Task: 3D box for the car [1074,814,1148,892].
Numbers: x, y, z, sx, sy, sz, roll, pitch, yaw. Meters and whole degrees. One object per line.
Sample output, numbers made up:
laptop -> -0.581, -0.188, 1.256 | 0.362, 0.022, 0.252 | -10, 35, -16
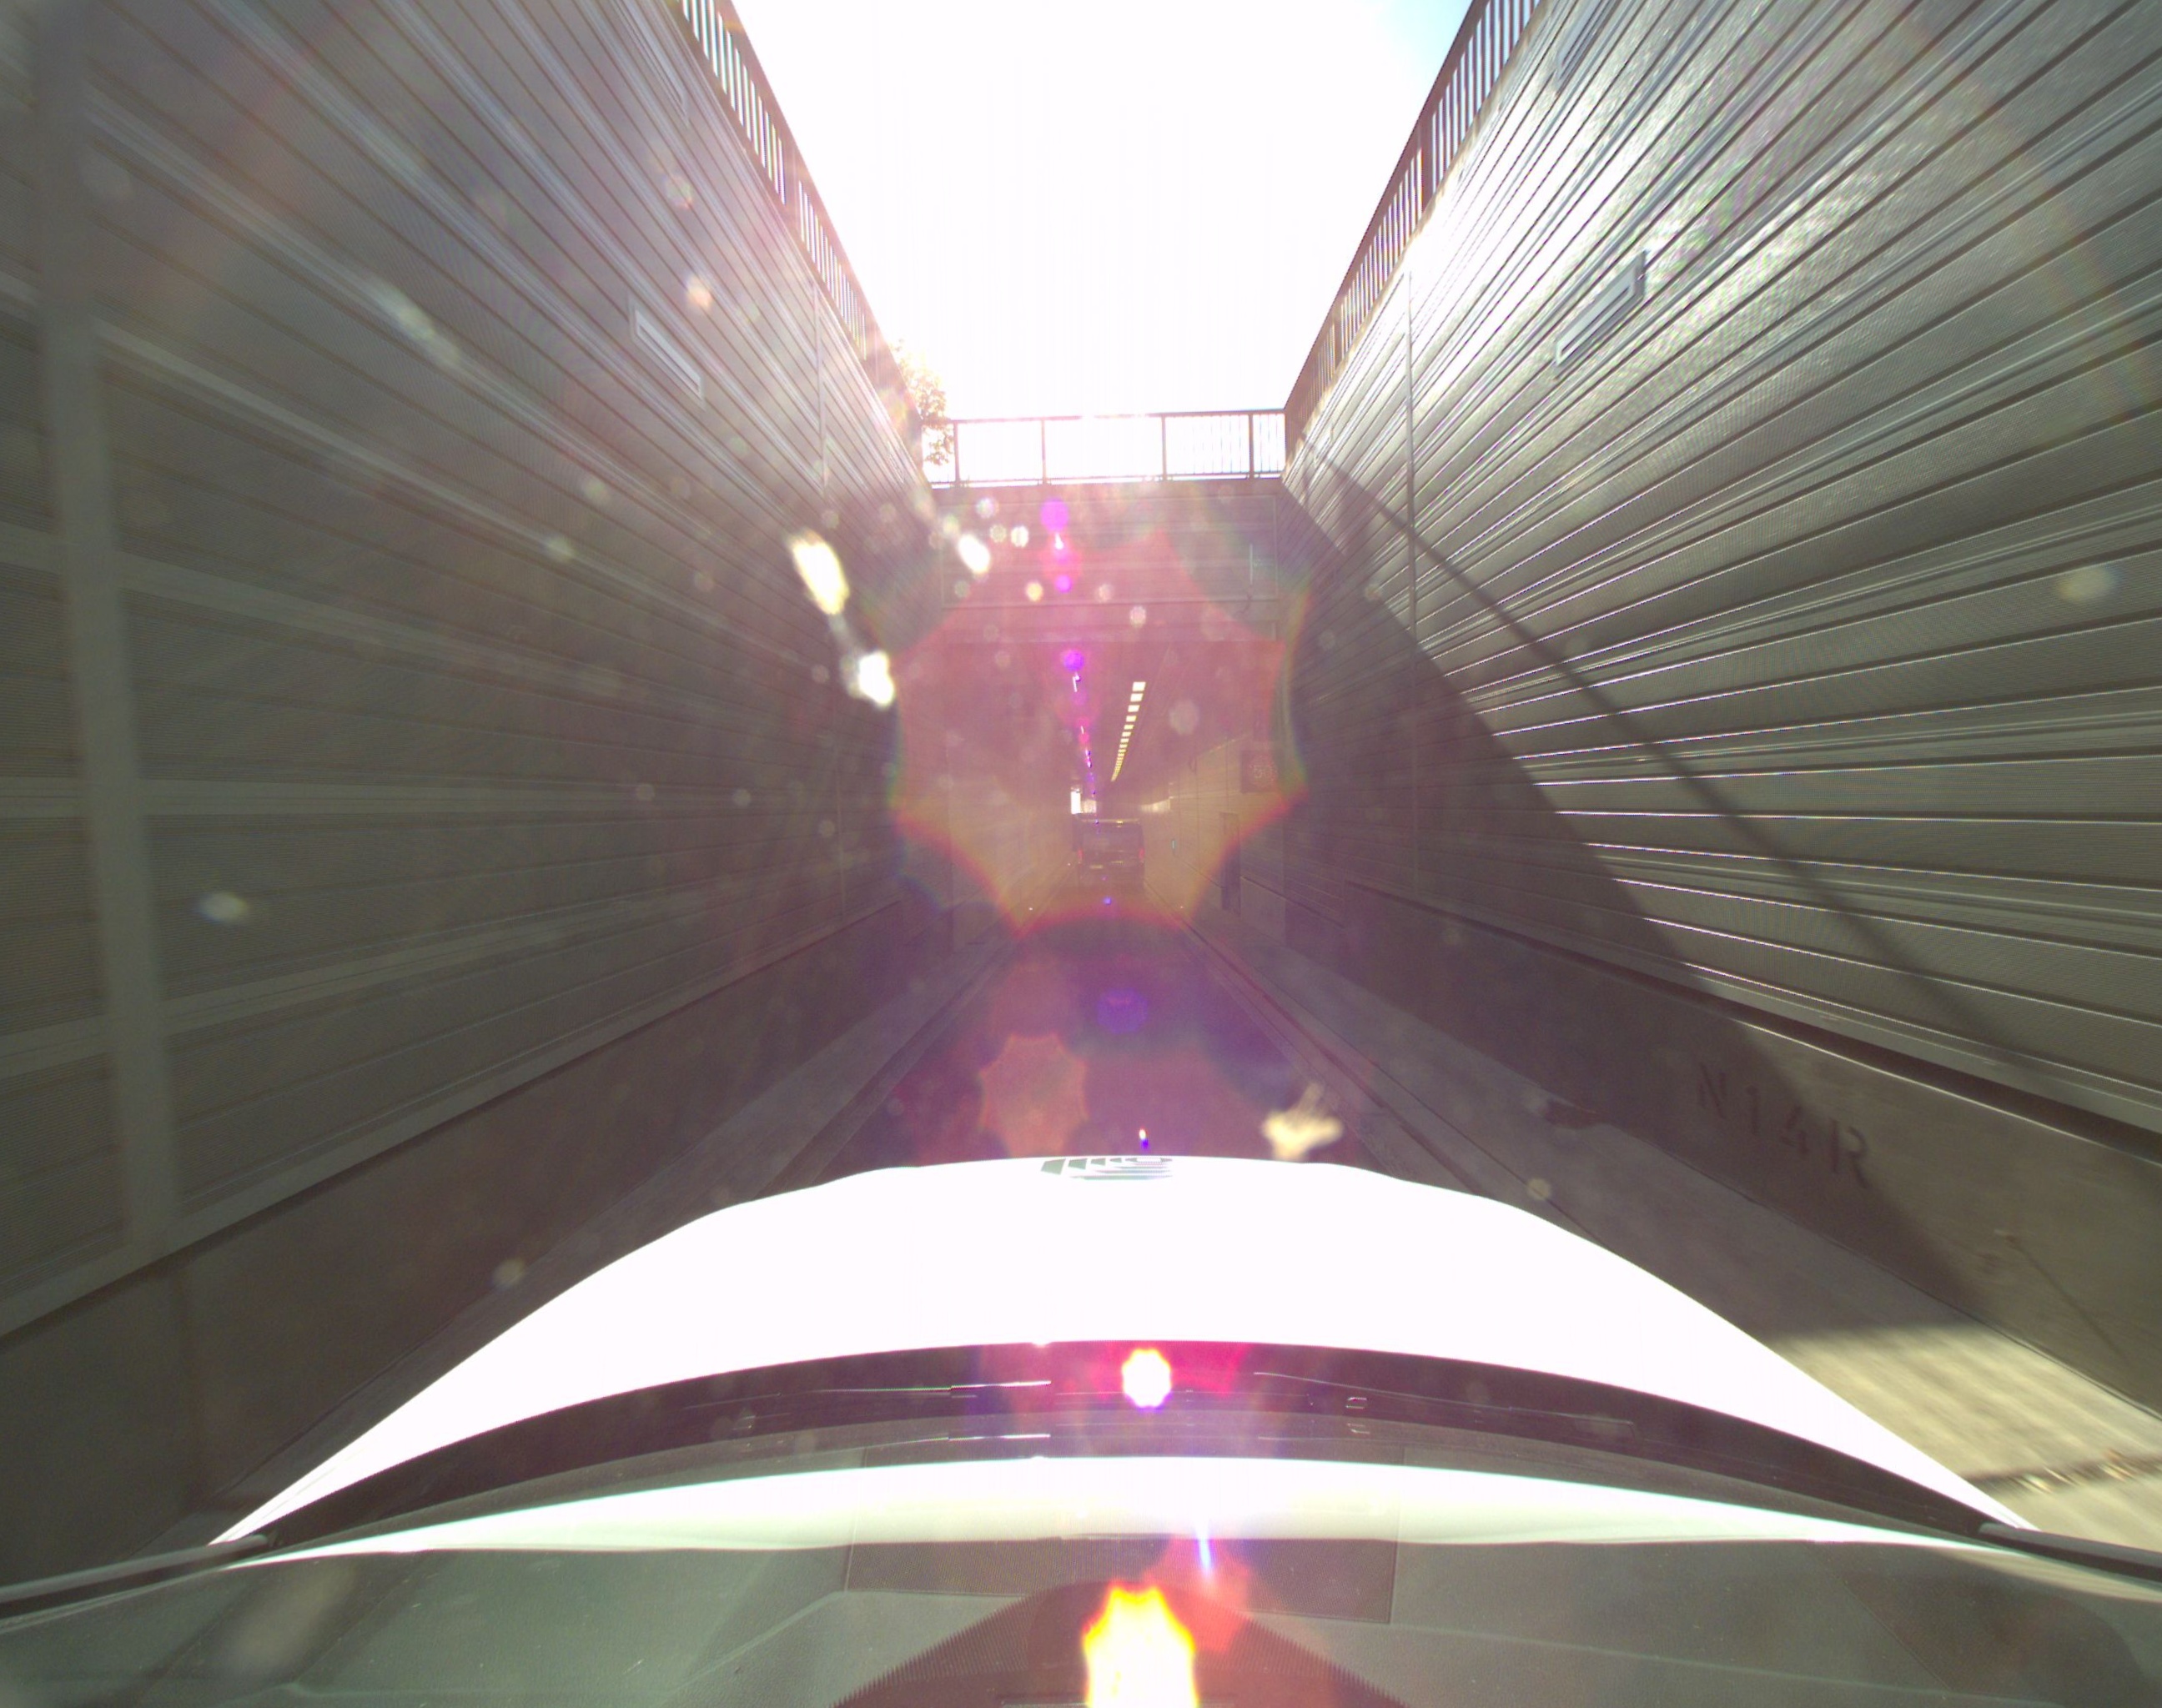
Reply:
car -> 0.968, -0.117, 26.464 | 2.150, 2.265, 4.639 | -1, 2, 2
